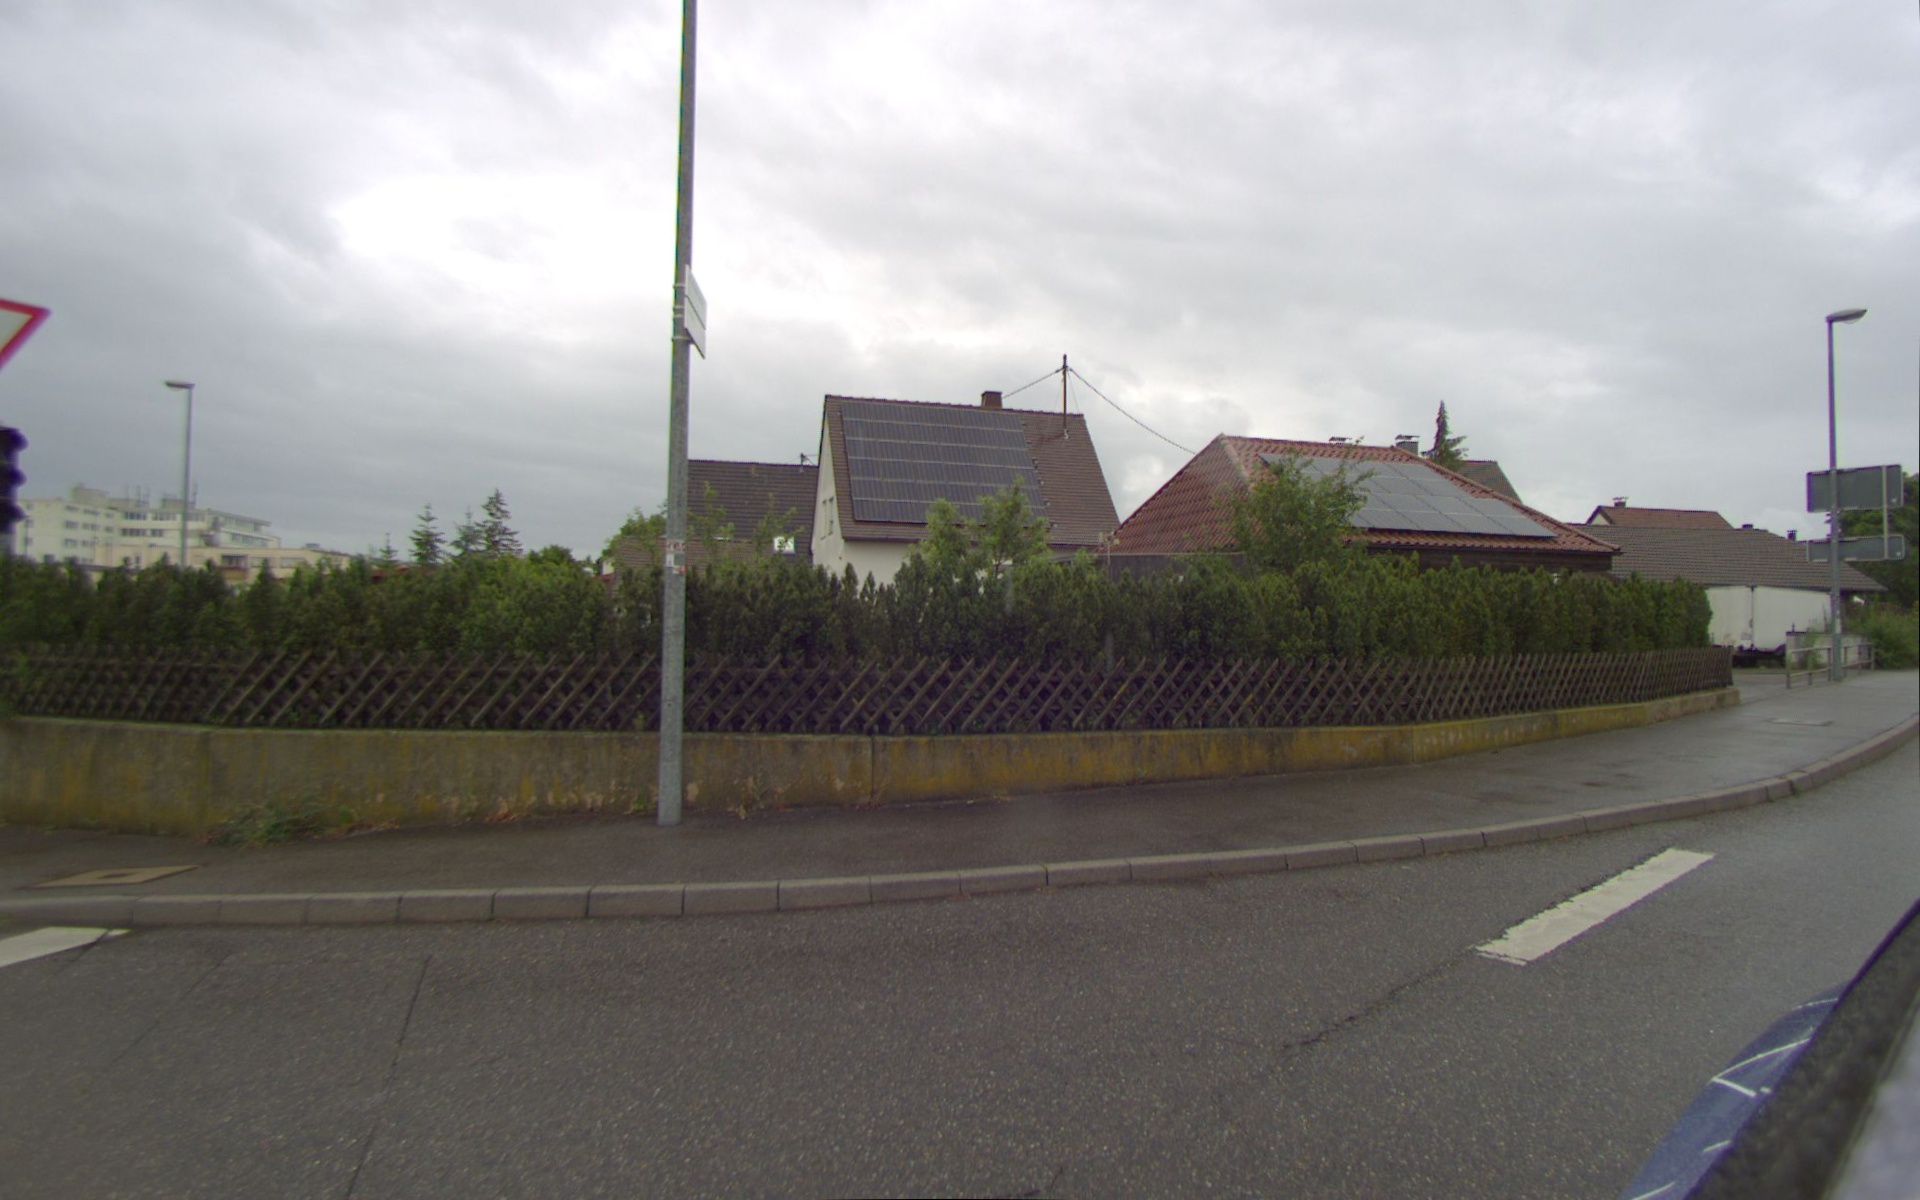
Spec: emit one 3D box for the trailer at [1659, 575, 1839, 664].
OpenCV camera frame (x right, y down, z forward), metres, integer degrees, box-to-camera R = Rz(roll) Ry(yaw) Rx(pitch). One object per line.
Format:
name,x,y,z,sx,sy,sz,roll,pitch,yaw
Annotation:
trailer,23.706,0.590,30.442,4.605,2.550,1.652,0,-2,-13
